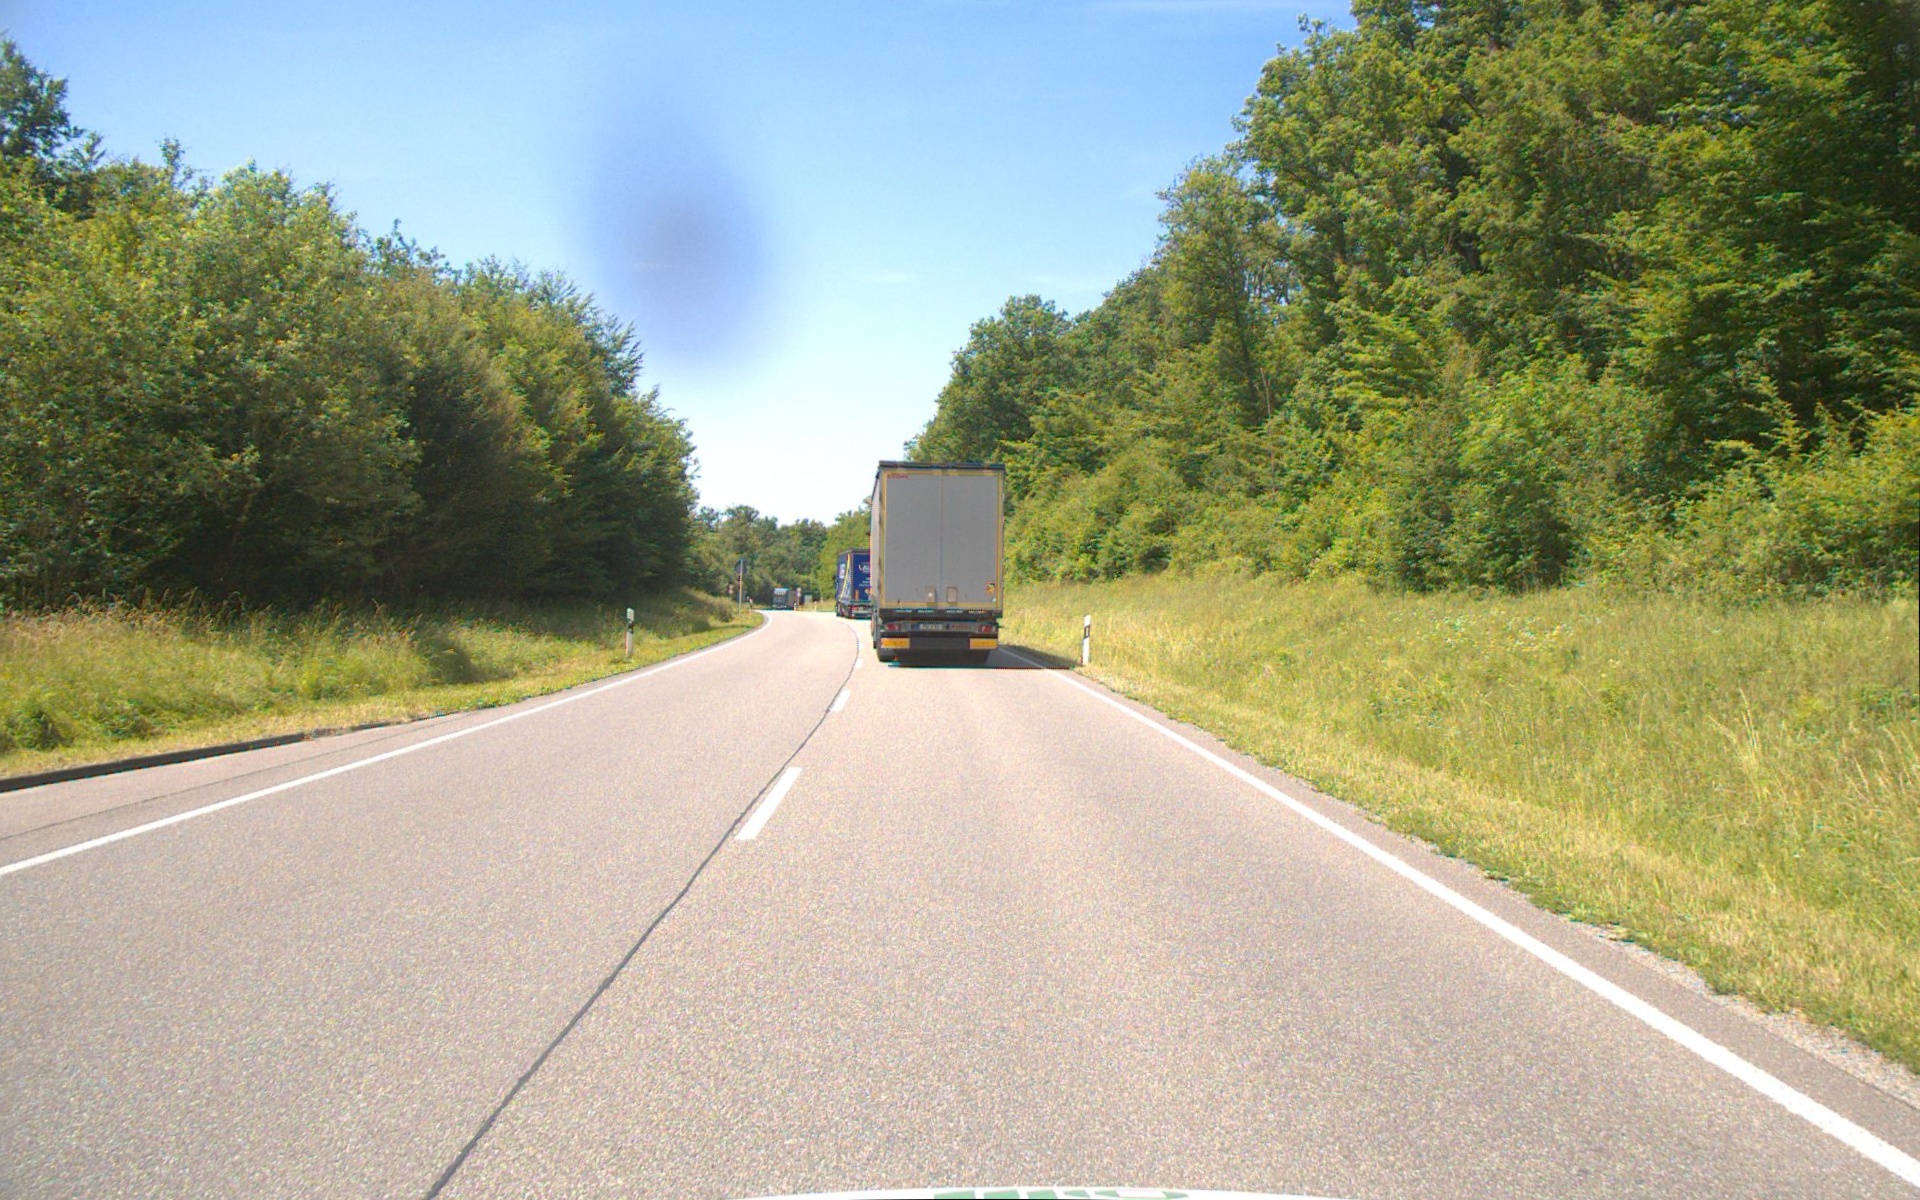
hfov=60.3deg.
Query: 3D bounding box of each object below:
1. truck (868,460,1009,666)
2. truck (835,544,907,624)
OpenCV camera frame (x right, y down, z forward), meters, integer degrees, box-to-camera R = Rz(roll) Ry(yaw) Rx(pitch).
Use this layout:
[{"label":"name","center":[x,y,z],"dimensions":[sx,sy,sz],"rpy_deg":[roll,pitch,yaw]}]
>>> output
[{"label":"truck","center":[-0.712,-0.741,38.583],"dimensions":[2.706,4.016,12.190],"rpy_deg":[1,0,-3]},{"label":"truck","center":[-5.689,-0.974,102.620],"dimensions":[3.720,4.449,14.902],"rpy_deg":[2,0,-6]}]
